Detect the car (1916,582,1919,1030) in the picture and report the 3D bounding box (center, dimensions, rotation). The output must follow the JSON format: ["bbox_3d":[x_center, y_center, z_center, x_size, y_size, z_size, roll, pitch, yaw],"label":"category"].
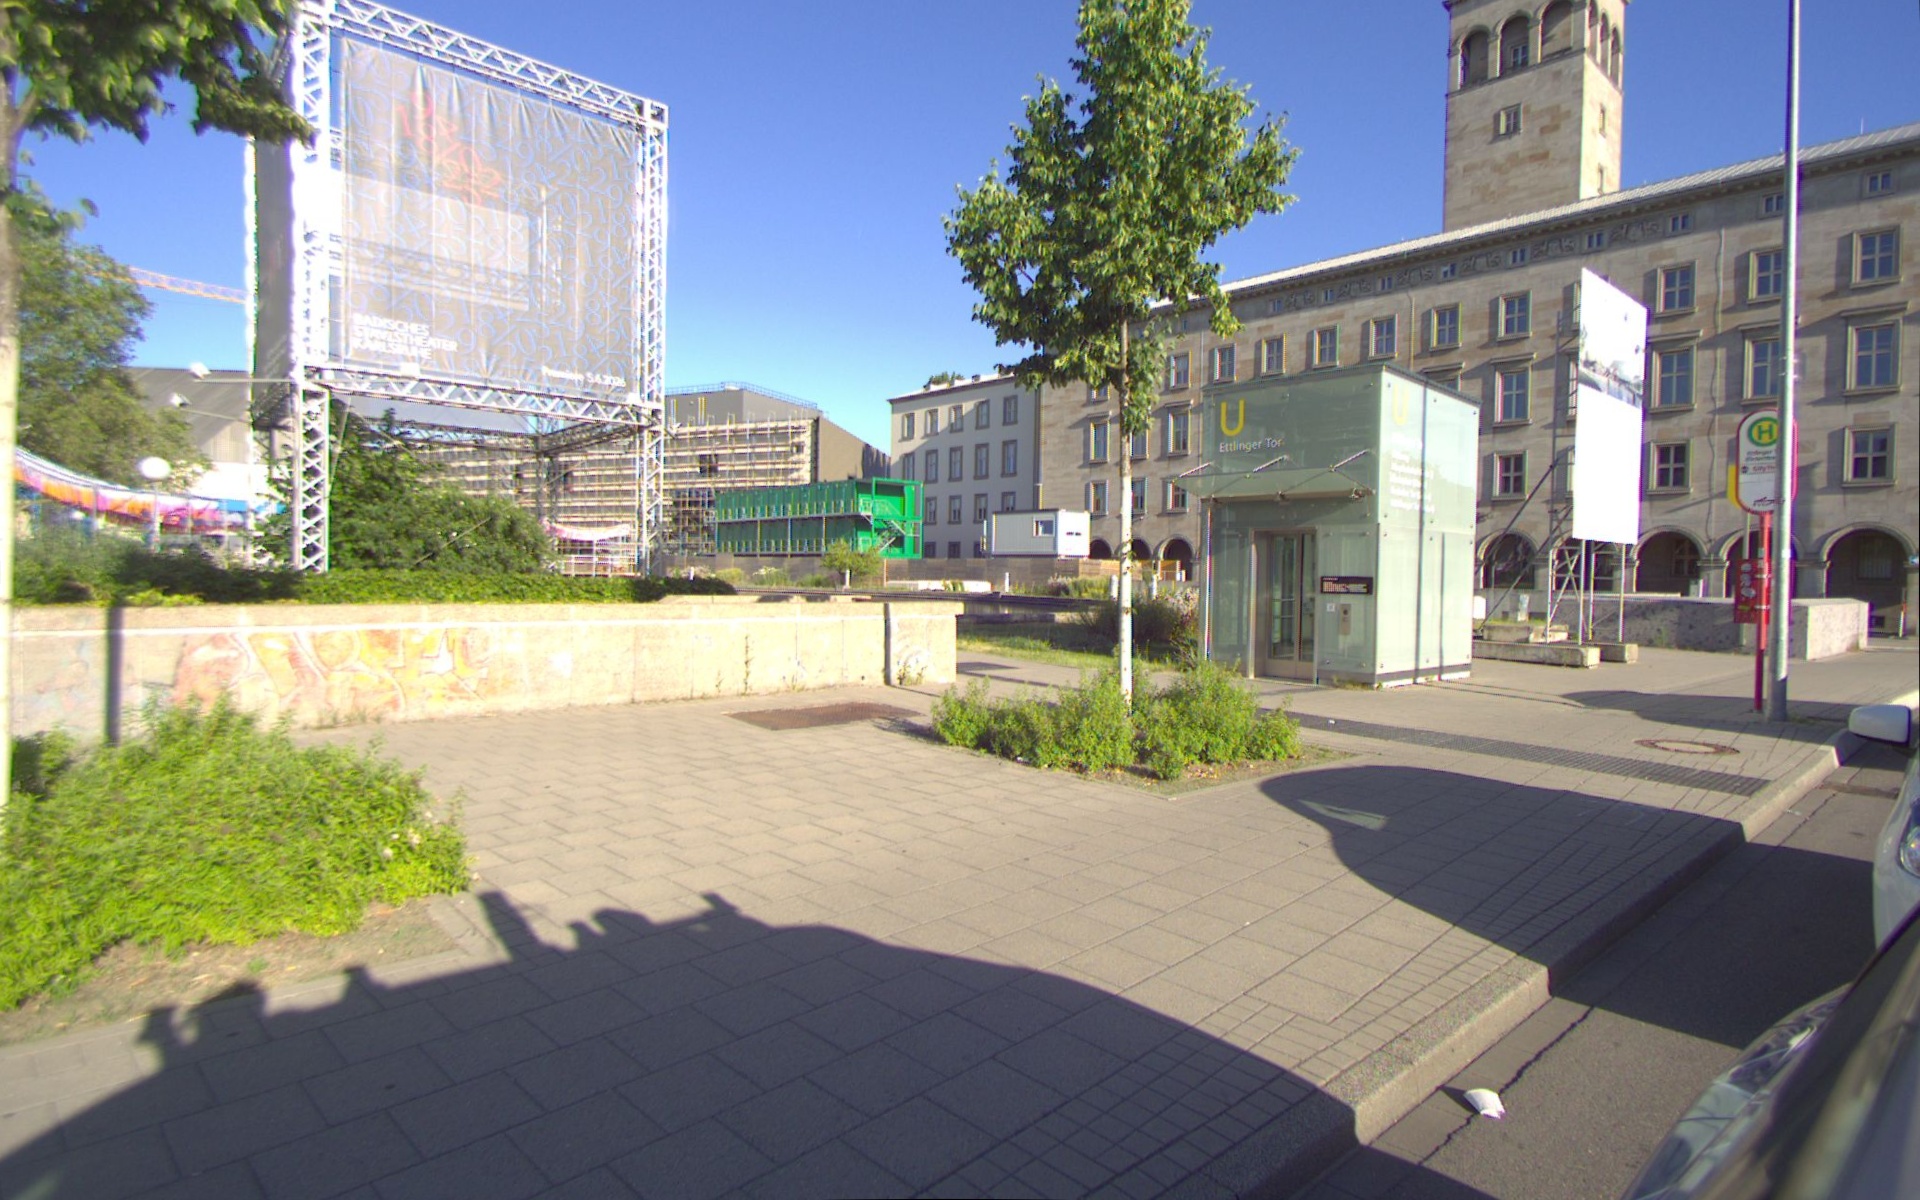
[{"bbox_3d":[5.043,0.702,4.000,3.541,1.504,1.495,0,0,-41],"label":"car"}]
